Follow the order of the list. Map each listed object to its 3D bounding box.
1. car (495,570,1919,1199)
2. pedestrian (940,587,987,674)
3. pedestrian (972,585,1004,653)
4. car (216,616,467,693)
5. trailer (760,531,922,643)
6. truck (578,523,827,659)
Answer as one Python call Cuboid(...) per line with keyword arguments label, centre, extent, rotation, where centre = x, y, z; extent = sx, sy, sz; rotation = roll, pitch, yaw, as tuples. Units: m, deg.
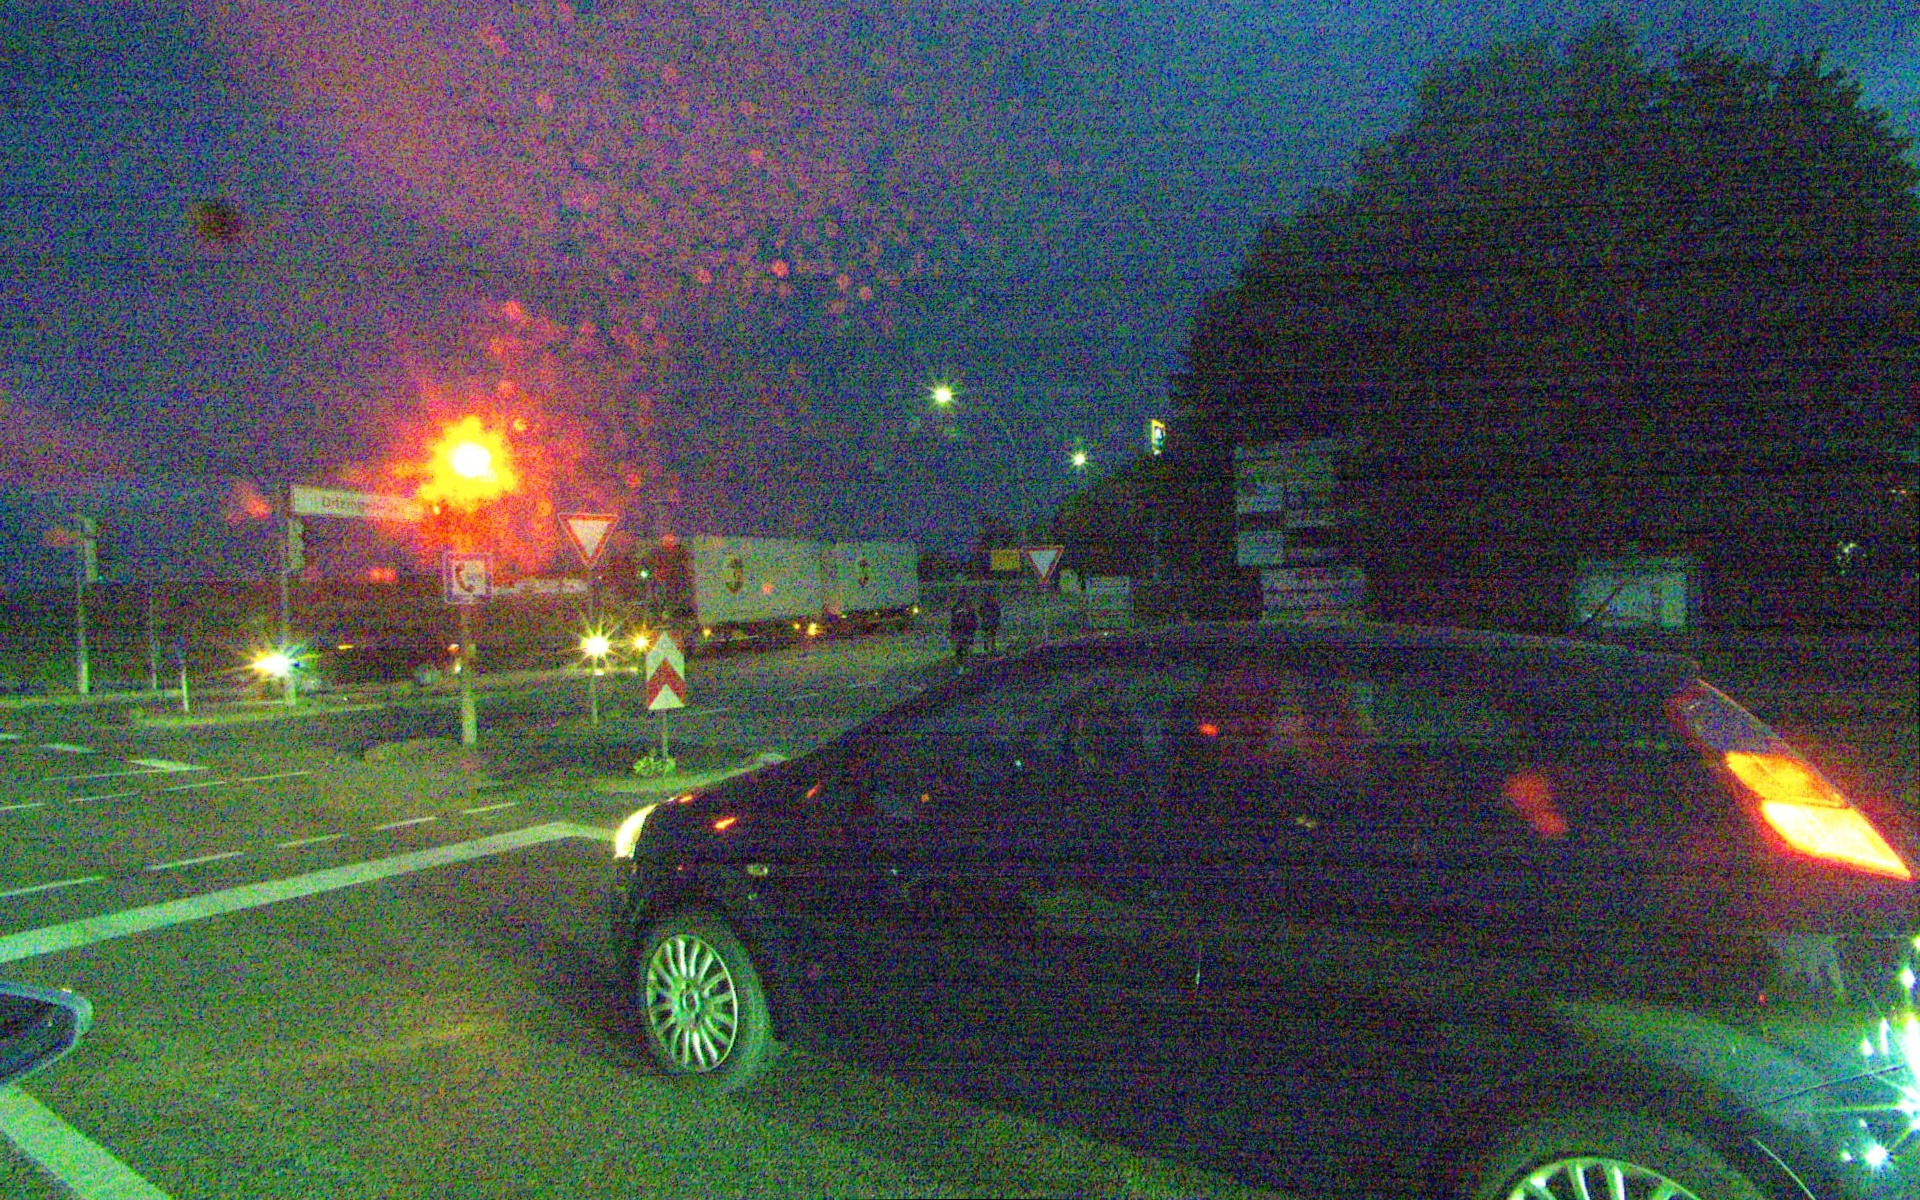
Cuboid(label="car", centre=(0.422, 0.766, 3.249), extent=(4.049, 1.540, 1.666), rotation=(-1, -1, 34))
Cuboid(label="pedestrian", centre=(0.091, 0.668, 22.194), extent=(0.861, 1.859, 0.731), rotation=(-3, 1, 6))
Cuboid(label="pedestrian", centre=(0.819, 0.530, 28.861), extent=(0.860, 1.925, 0.660), rotation=(-1, 1, 6))
Cuboid(label="car", centre=(-14.215, 1.185, 23.307), extent=(1.972, 1.540, 4.590), rotation=(0, 0, 33))
Cuboid(label="trailer", centre=(-4.876, -0.662, 43.535), extent=(2.875, 4.361, 9.043), rotation=(-1, 2, 22))
Cuboid(label="truck", centre=(-8.453, -0.307, 34.843), extent=(2.876, 4.033, 10.042), rotation=(-1, 1, 23))
